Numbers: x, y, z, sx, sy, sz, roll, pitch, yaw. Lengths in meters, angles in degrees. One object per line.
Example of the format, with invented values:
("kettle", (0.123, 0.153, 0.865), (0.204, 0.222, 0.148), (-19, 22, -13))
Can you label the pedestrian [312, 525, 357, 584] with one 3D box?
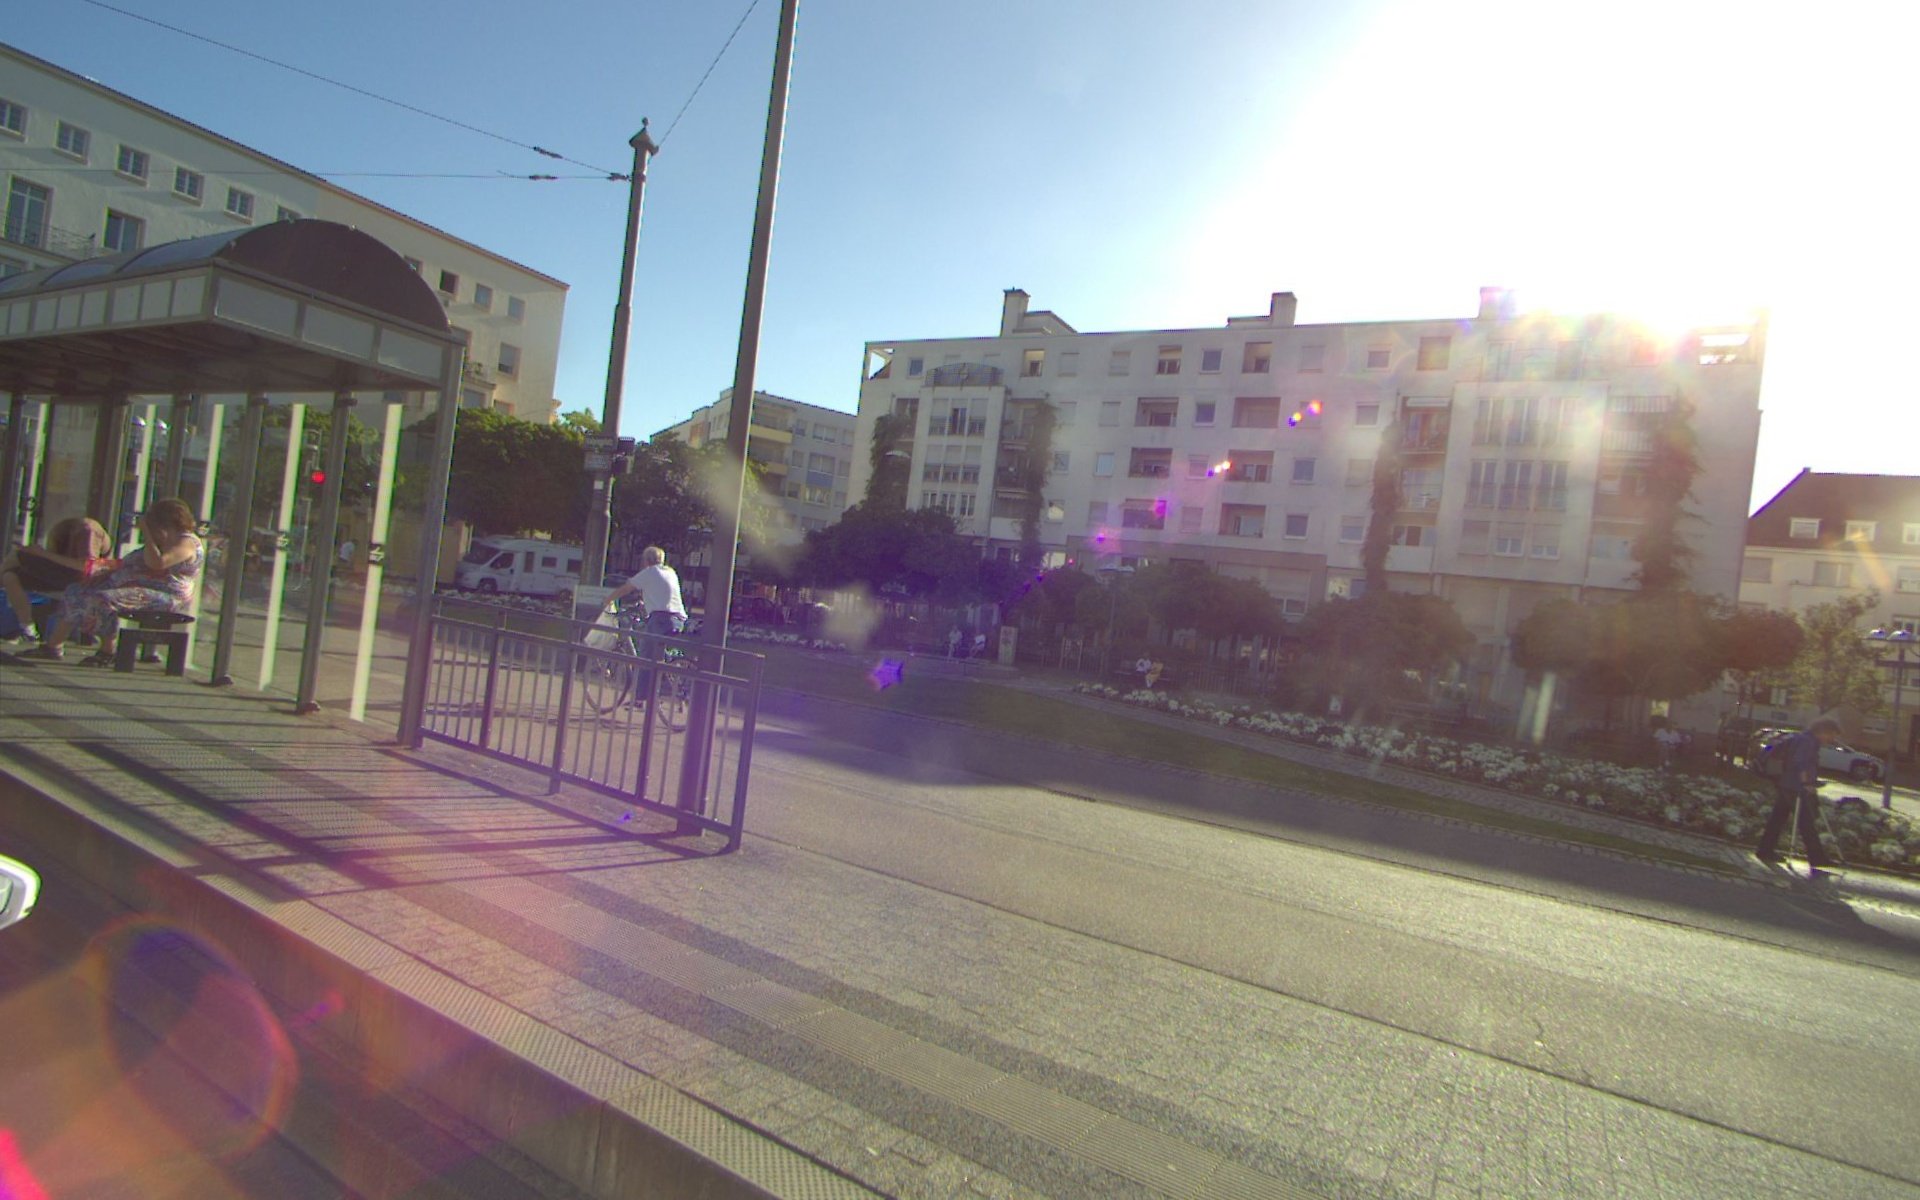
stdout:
("pedestrian", (-19.703, -1.422, 31.714), (0.686, 1.705, 0.900), (7, 0, 42))

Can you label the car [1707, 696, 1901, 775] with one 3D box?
("car", (39.741, 6.334, 47.682), (6.283, 2.586, 2.813), (7, -1, 26))

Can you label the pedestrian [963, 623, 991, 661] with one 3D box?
("pedestrian", (0.623, 1.562, 37.059), (0.718, 1.287, 1.042), (7, 0, 11))

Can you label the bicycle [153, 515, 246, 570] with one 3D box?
("bicycle", (-26.987, -2.014, 35.766), (0.714, 1.548, 2.391), (7, -2, 31))

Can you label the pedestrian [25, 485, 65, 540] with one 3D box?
("pedestrian", (-33.052, -3.163, 36.346), (0.667, 1.861, 0.785), (7, 0, 35))

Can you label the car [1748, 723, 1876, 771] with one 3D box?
("car", (36.181, 6.220, 42.872), (3.941, 1.303, 1.993), (7, -1, 39))

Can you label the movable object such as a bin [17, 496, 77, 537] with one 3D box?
("movable object such as a bin", (-31.492, -2.890, 34.709), (1.197, 1.167, 1.200), (7, -1, 33))

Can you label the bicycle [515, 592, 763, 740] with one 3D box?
("bicycle", (-3.159, 0.627, 9.871), (2.281, 1.073, 0.721), (8, -2, 23))

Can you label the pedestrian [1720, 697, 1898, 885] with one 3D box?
("pedestrian", (8.832, 1.935, 10.537), (0.939, 1.688, 1.070), (7, 0, 19))

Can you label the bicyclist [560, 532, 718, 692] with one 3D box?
("bicyclist", (-3.139, 0.137, 9.906), (0.917, 1.382, 0.954), (8, -2, 24))

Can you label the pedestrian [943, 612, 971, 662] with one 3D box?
("pedestrian", (-0.109, 1.386, 37.212), (0.661, 1.745, 1.028), (7, 0, 11))

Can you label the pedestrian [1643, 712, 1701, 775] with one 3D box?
("pedestrian", (18.319, 3.673, 25.871), (0.923, 1.428, 1.520), (7, -1, 42))

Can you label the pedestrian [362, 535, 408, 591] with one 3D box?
("pedestrian", (-17.998, -1.163, 31.481), (0.651, 1.605, 0.902), (7, 0, 35))

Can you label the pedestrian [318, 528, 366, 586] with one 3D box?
("pedestrian", (-18.798, -1.304, 30.614), (0.651, 1.605, 0.902), (7, 0, 35))

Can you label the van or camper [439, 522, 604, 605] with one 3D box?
("van or camper", (-19.918, -1.610, 46.093), (2.340, 2.873, 6.410), (7, -1, 35))

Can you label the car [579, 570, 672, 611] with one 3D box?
("car", (-17.295, -0.457, 52.094), (1.974, 1.529, 3.981), (6, -3, 43))

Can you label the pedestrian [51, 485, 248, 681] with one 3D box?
("pedestrian", (-6.229, -0.114, 7.759), (0.613, 1.348, 0.861), (6, -3, 32))

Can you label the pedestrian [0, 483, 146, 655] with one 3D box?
("pedestrian", (-7.584, -0.263, 8.267), (0.908, 1.238, 1.001), (6, -4, 32))

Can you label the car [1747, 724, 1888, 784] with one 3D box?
("car", (33.001, 5.882, 38.884), (3.941, 1.535, 1.993), (7, -1, 39))

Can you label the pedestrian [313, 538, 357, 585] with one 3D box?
("pedestrian", (-19.320, -1.188, 31.122), (0.596, 1.295, 0.901), (7, 0, 39))

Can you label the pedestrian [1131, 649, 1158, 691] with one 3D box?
("pedestrian", (6.134, 2.307, 33.454), (0.718, 1.287, 0.745), (7, 0, 11))

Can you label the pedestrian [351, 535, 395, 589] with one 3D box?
("pedestrian", (-19.073, -1.231, 32.679), (0.651, 1.605, 0.902), (7, 0, 35))

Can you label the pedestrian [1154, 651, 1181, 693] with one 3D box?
("pedestrian", (6.854, 2.371, 33.321), (0.718, 1.287, 0.745), (7, 0, 11))

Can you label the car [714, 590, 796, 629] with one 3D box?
("car", (-10.160, 0.490, 50.090), (1.964, 1.503, 4.000), (7, -1, 23))

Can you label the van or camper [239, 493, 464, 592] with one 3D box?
("van or camper", (-23.930, -2.177, 40.007), (2.331, 2.780, 7.131), (9, 0, 32))

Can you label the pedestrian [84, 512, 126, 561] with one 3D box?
("pedestrian", (-28.343, -2.098, 33.357), (0.742, 1.427, 0.731), (11, 1, 32))

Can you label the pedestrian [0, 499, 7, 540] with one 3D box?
("pedestrian", (-31.469, -2.649, 32.545), (0.736, 1.332, 0.622), (7, 0, -35))
